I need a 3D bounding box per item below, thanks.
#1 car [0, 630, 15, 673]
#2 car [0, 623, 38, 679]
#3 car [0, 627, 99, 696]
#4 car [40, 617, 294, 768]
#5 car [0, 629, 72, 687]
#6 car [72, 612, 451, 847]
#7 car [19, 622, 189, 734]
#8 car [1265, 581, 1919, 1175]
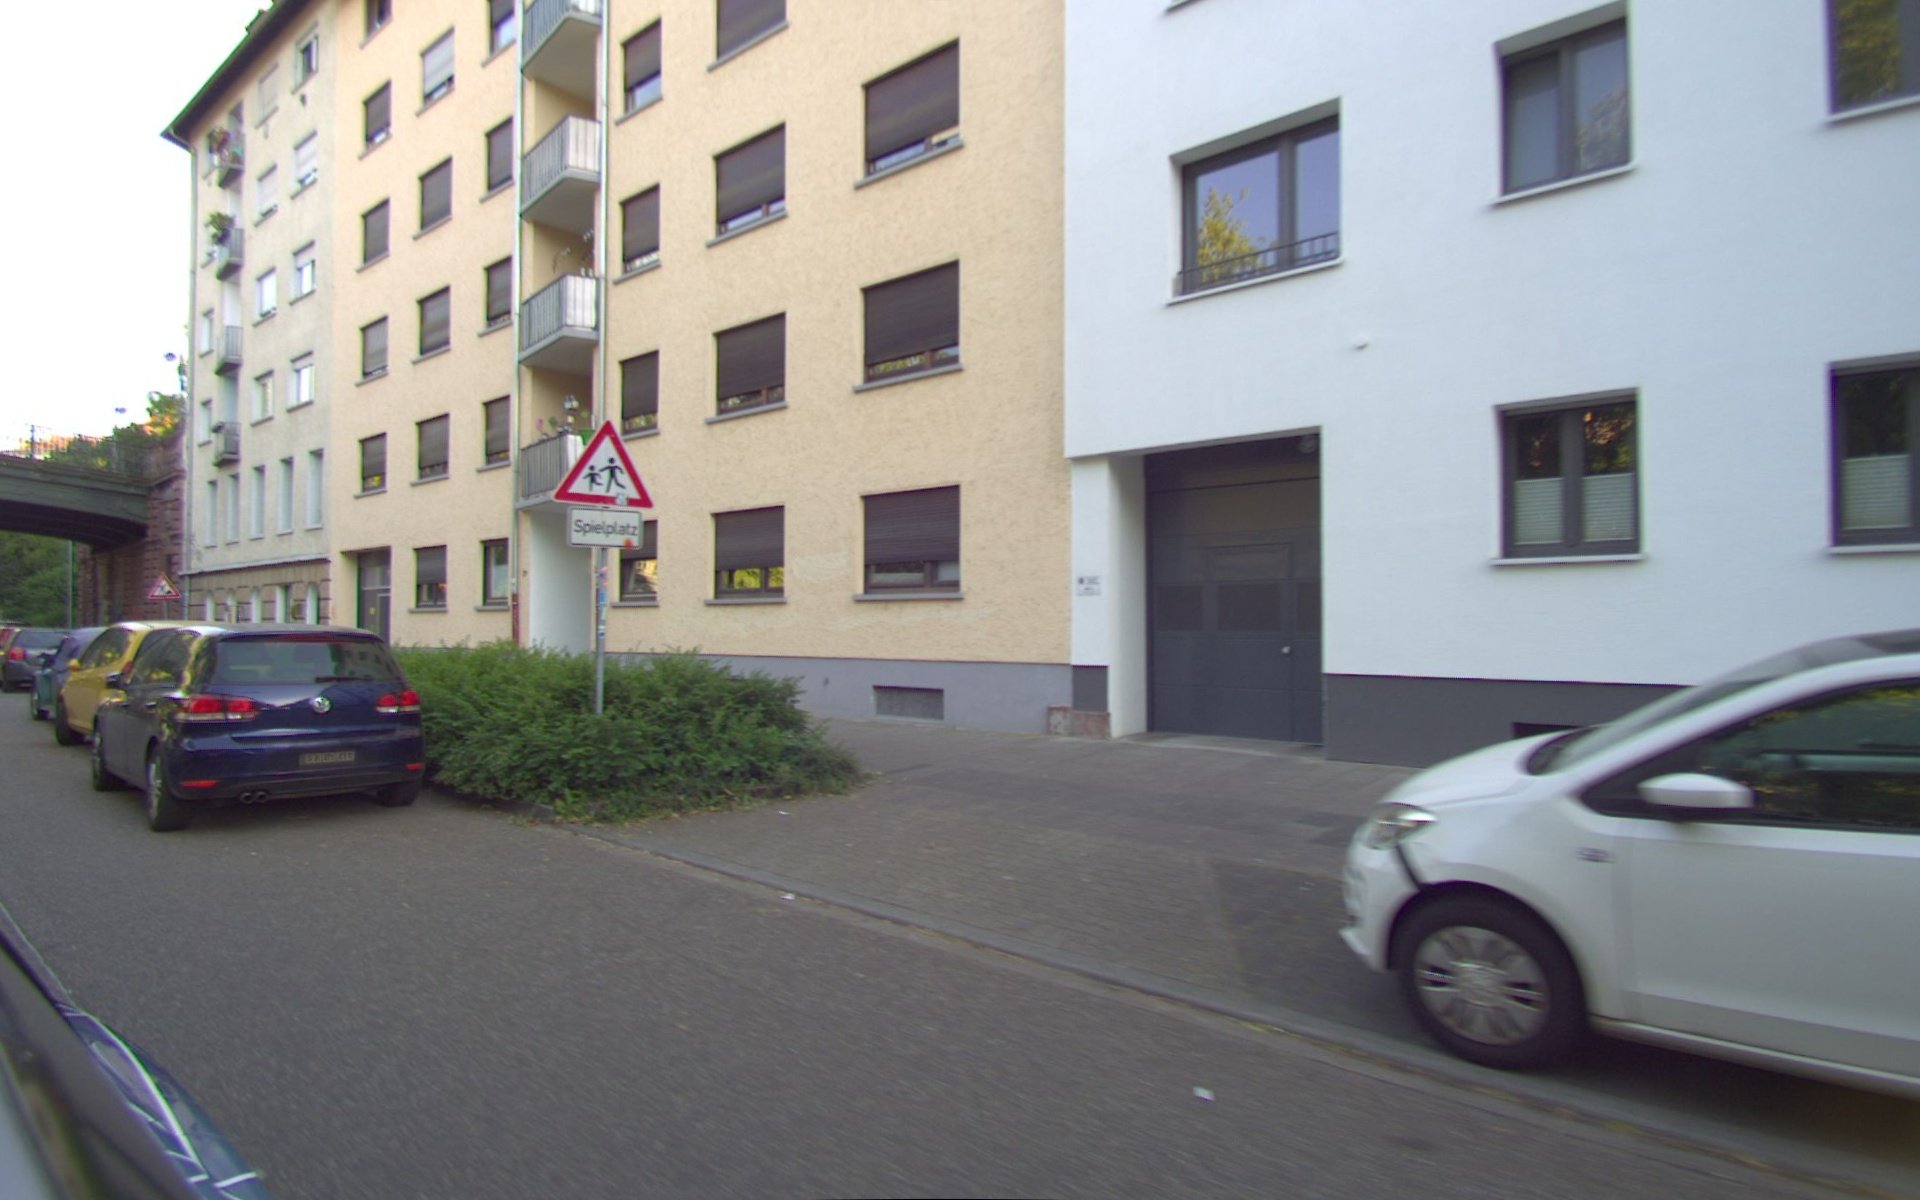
[{"bbox_3d":[-35.112,1.798,36.063,3.999,1.475,1.698,-1,-3,42],"label":"car"},{"bbox_3d":[-31.204,1.582,32.512,4.318,1.721,1.700,-1,-3,39],"label":"car"},{"bbox_3d":[-21.726,1.426,23.818,3.999,1.478,1.619,-1,-5,42],"label":"car"},{"bbox_3d":[-9.625,0.993,12.196,3.771,1.537,1.685,-1,-2,41],"label":"car"},{"bbox_3d":[-25.572,1.533,27.500,3.998,1.452,1.671,-1,-2,42],"label":"car"},{"bbox_3d":[-5.957,0.901,8.446,3.999,1.490,1.720,-2,-3,43],"label":"car"},{"bbox_3d":[-13.368,1.128,15.731,3.782,1.529,1.549,-1,-3,43],"label":"car"},{"bbox_3d":[3.204,0.713,3.108,3.998,1.519,1.651,-2,1,41],"label":"car"}]
